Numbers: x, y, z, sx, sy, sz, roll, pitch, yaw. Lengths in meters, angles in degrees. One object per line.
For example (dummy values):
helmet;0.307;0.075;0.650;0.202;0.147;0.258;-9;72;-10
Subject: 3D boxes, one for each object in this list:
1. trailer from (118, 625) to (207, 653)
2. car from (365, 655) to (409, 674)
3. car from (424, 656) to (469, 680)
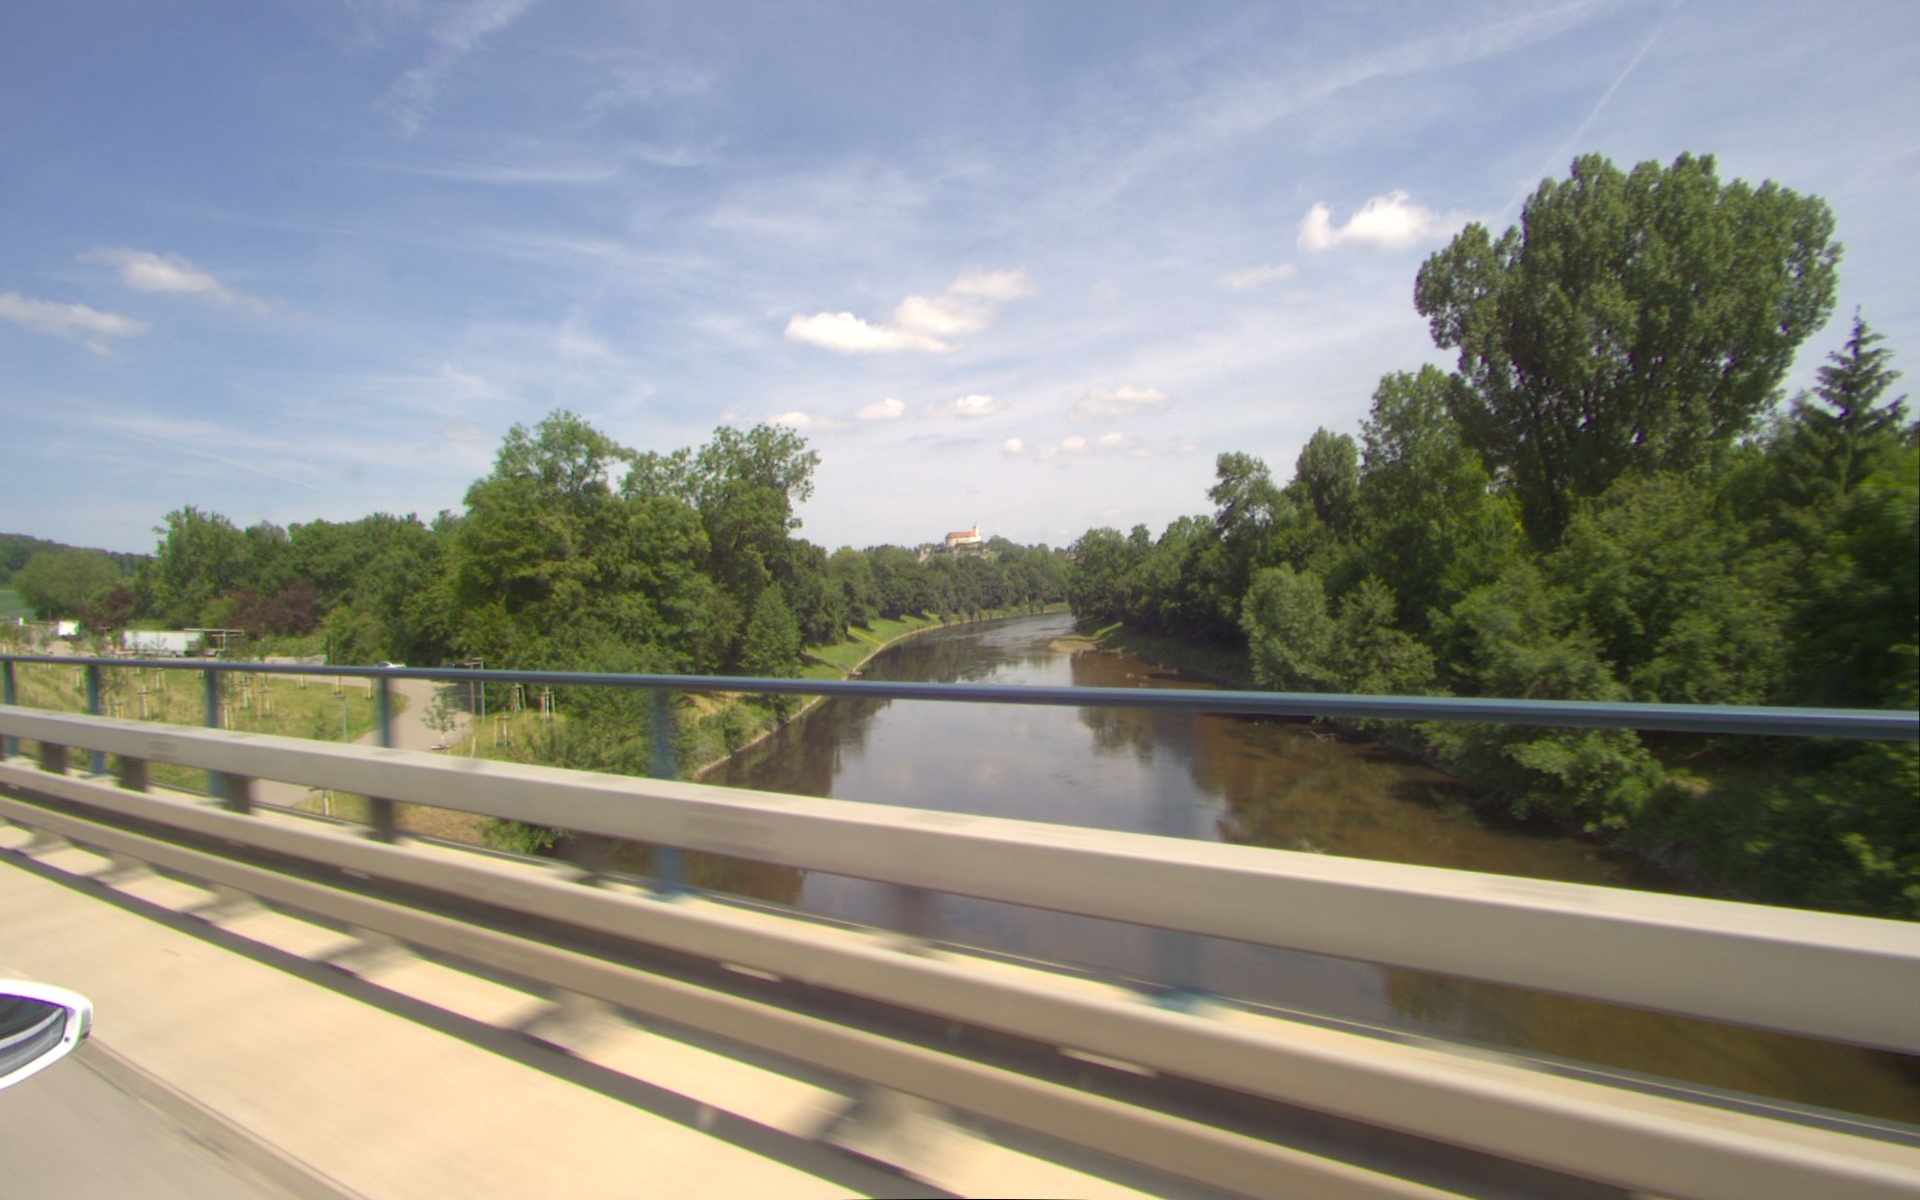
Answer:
trailer;-103.584;4.996;130.080;11.677;3.371;2.724;0;0;16
car;-54.207;6.062;94.741;4.546;1.503;1.851;0;3;35
car;-45.212;5.977;88.158;4.146;1.706;1.849;1;4;38
